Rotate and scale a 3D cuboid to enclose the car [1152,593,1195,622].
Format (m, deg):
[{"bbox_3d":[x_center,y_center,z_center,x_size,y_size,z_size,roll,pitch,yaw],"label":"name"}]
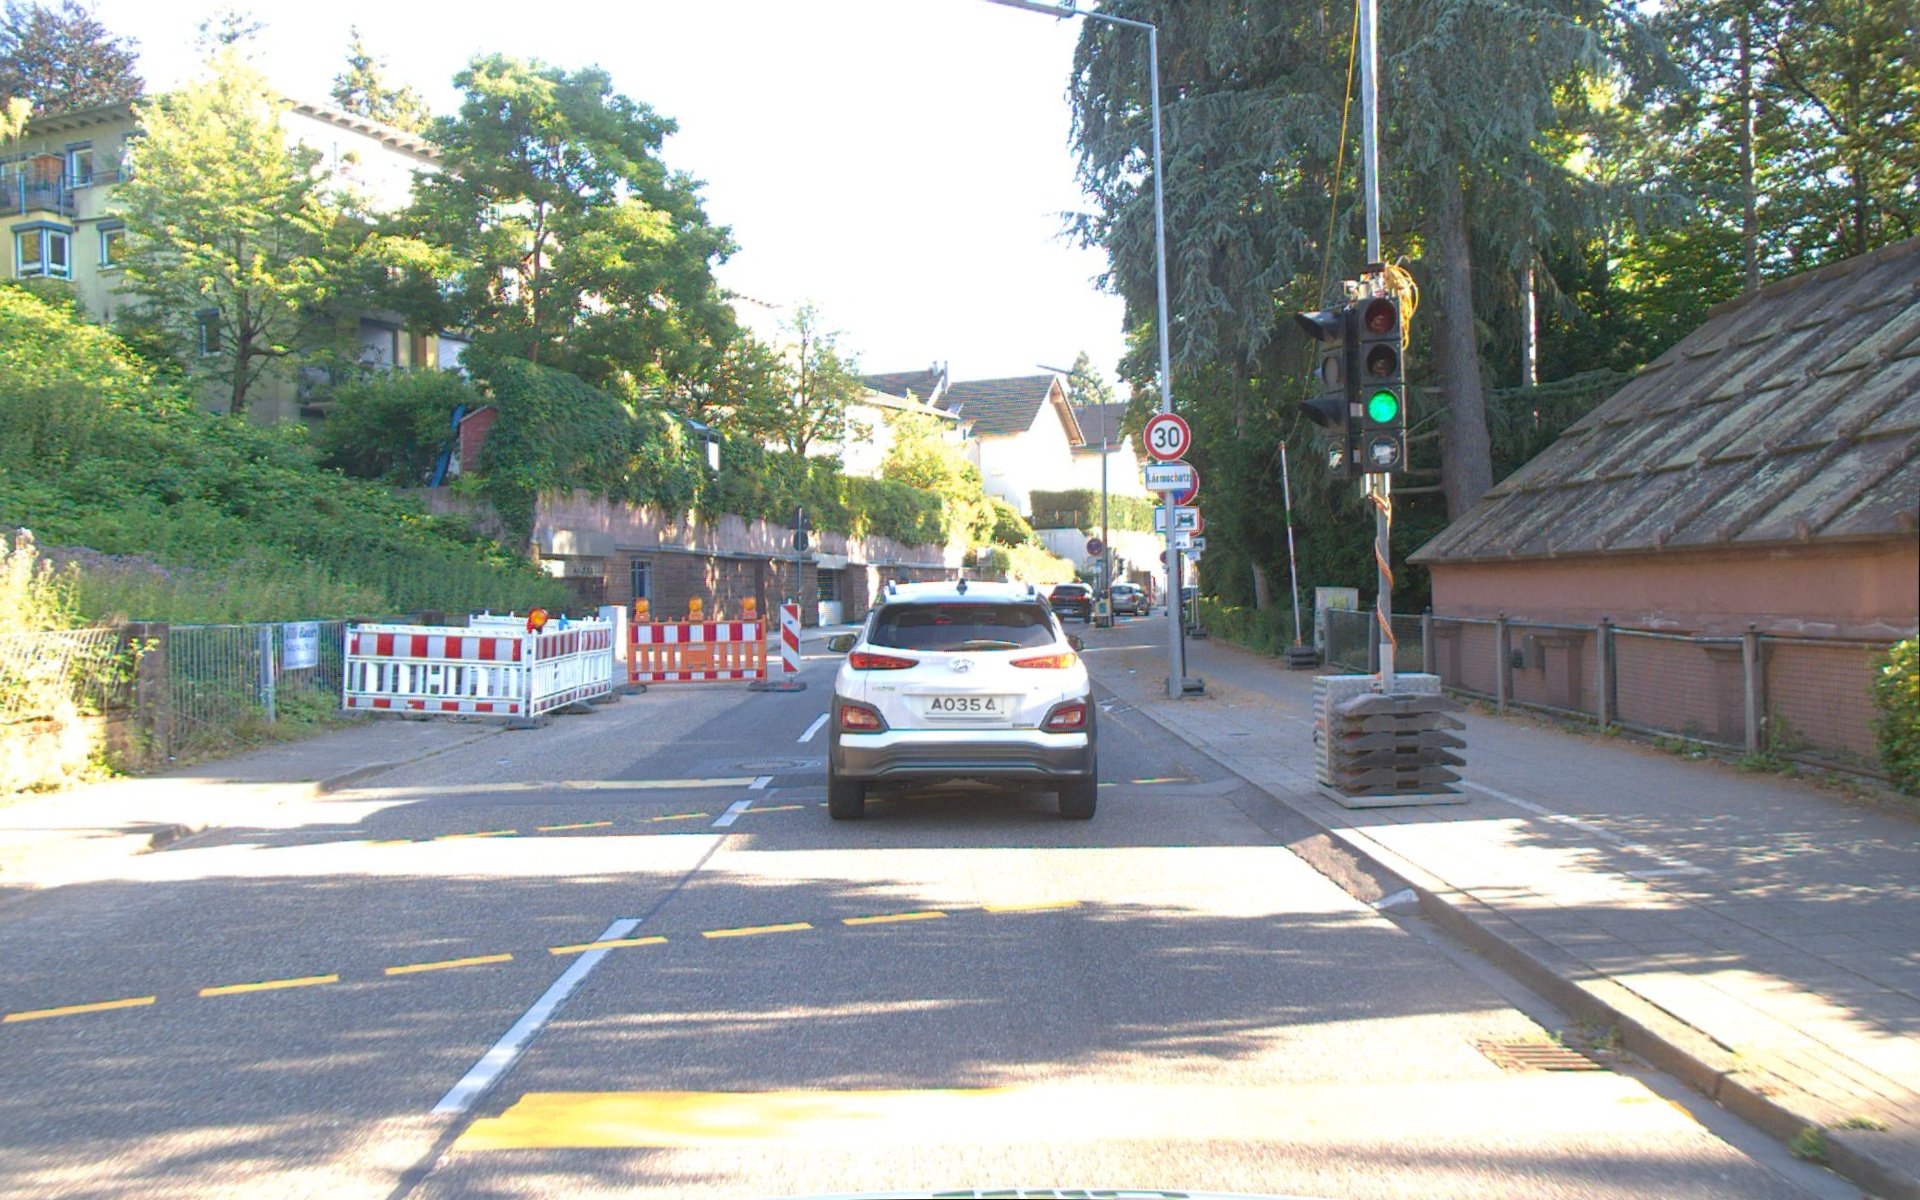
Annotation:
[{"bbox_3d":[12.857,0.426,99.543,1.793,1.691,4.002,0,1,19],"label":"car"}]

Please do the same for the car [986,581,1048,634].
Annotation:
[{"bbox_3d":[1.750,0.212,51.623,1.768,1.564,4.000,0,1,0],"label":"car"}]

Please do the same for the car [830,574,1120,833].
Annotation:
[{"bbox_3d":[-0.054,0.620,12.263,1.785,1.601,3.996,0,1,-5],"label":"car"}]

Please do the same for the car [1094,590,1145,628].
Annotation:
[{"bbox_3d":[8.006,0.440,82.786,1.793,1.771,4.003,-2,0,15],"label":"car"}]

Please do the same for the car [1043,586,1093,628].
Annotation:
[{"bbox_3d":[4.560,0.269,69.288,1.792,1.691,4.003,1,1,8],"label":"car"}]

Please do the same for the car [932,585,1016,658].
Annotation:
[{"bbox_3d":[0.254,0.416,35.448,1.673,1.459,4.364,0,1,-1],"label":"car"}]

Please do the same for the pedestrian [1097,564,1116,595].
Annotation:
[{"bbox_3d":[9.104,-1.261,102.836,1.057,1.945,0.841,0,0,16],"label":"pedestrian"}]
